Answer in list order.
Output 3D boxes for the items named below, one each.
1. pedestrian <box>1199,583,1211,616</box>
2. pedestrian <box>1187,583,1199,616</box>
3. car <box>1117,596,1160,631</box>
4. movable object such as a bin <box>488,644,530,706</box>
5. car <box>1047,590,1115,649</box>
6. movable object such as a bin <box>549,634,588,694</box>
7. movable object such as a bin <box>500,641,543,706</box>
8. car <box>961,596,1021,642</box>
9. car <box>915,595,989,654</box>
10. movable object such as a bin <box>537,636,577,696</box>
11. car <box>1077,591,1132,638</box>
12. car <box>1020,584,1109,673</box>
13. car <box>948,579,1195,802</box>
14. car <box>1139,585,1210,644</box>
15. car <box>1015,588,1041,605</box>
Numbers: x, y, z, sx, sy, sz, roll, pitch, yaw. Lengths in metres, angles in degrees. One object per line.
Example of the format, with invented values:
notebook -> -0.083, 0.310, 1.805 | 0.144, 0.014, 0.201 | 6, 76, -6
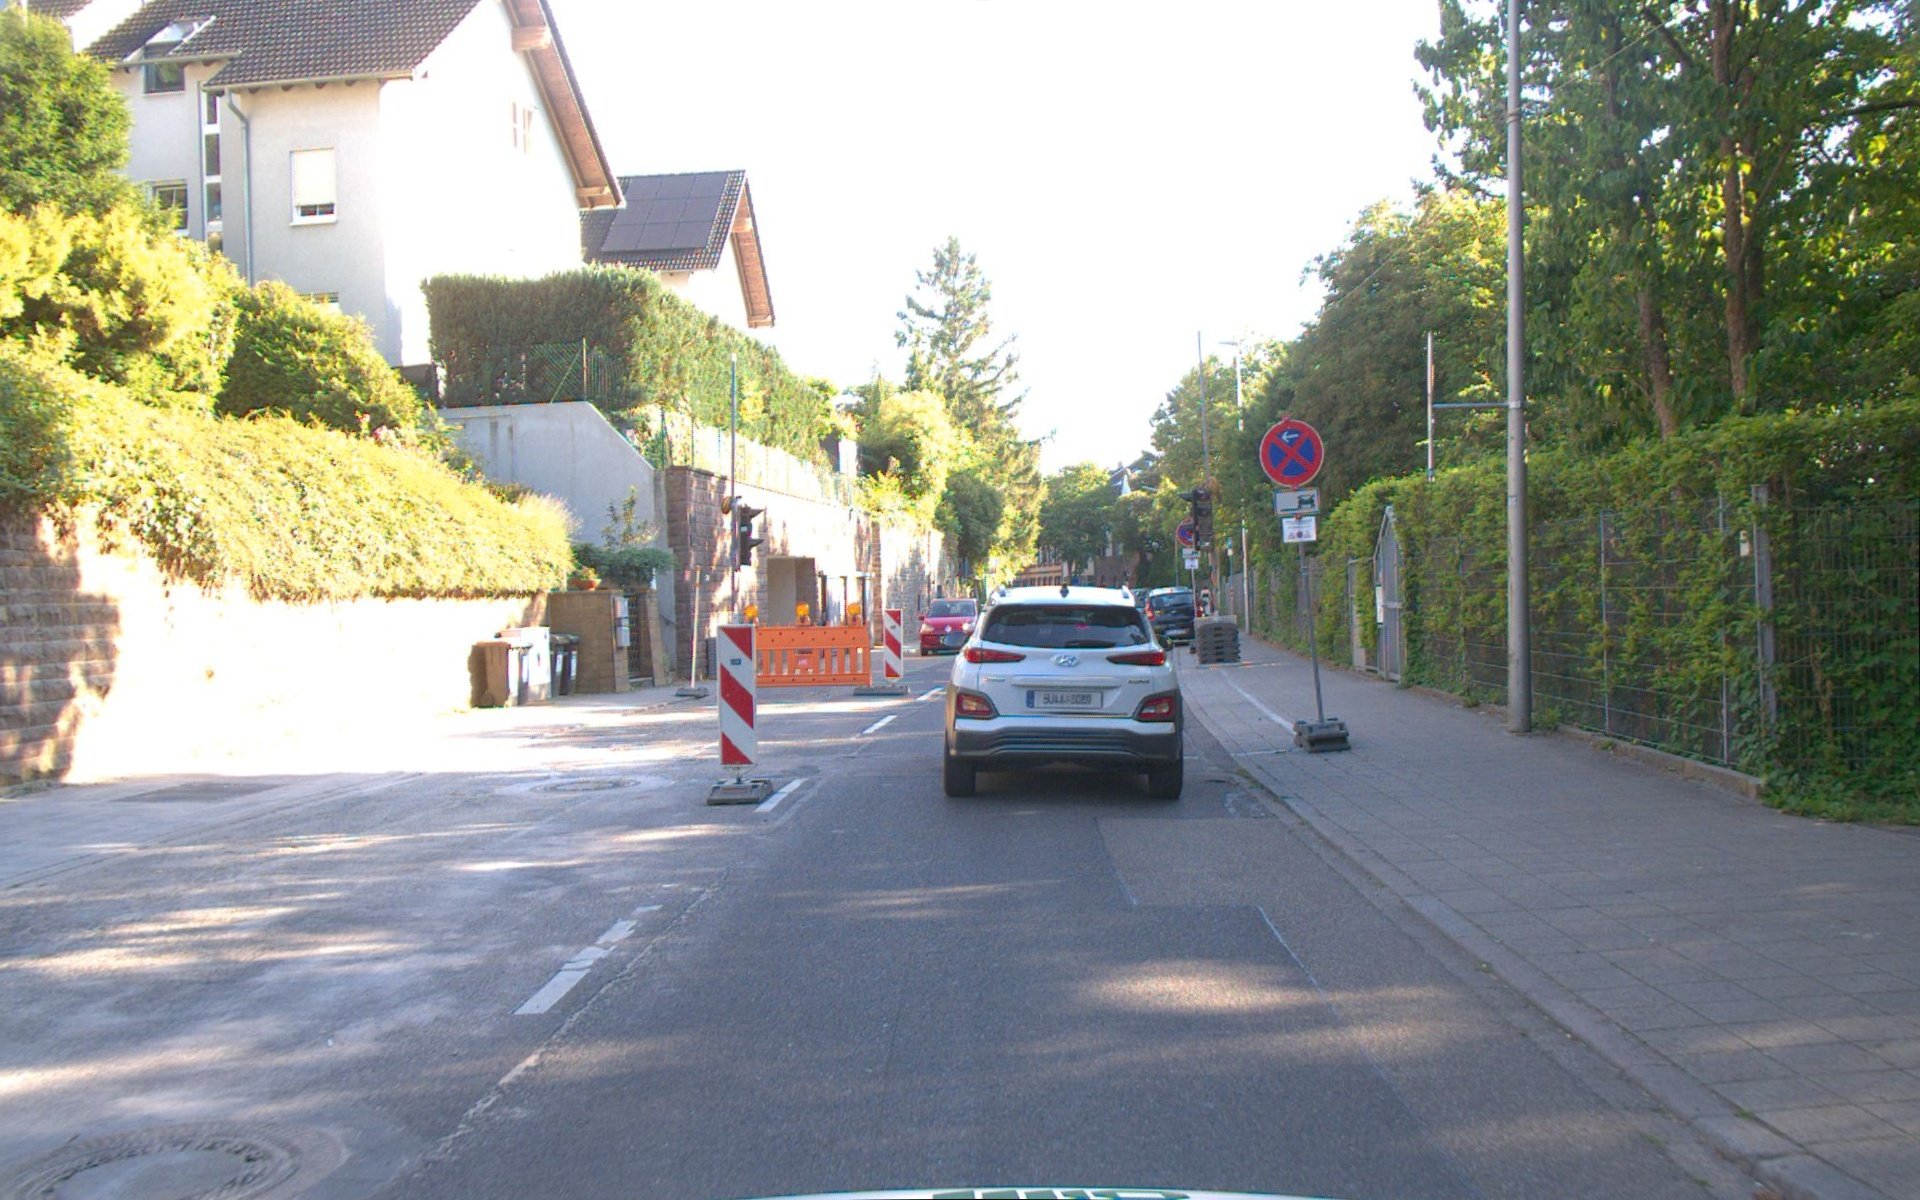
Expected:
pedestrian -> 12.452, -0.028, 84.158 | 0.492, 1.596, 0.504 | -4, -1, 8
pedestrian -> 11.888, -0.006, 84.238 | 0.492, 1.634, 0.491 | -4, -1, 8
car -> 8.065, 0.592, 74.504 | 1.657, 1.472, 3.885 | 1, 0, 9
movable object such as a bin -> -6.339, 1.050, 23.257 | 0.444, 0.848, 0.392 | -1, 0, 5
car -> 3.300, 0.500, 44.623 | 1.537, 1.503, 3.551 | -1, 0, 9
movable object such as a bin -> -6.104, 0.991, 25.801 | 0.446, 0.899, 0.501 | -1, 0, 6
movable object such as a bin -> -6.287, 1.053, 23.726 | 0.446, 0.899, 0.501 | -1, 0, 6
car -> 1.089, 0.624, 56.473 | 1.614, 1.435, 3.933 | -3, 0, 6
car -> -0.172, 0.639, 44.433 | 1.592, 1.446, 3.565 | -3, 0, 5
movable object such as a bin -> -6.161, 1.005, 25.278 | 0.446, 0.899, 0.501 | -1, 0, 6
car -> 5.122, 0.495, 58.283 | 1.657, 1.560, 3.884 | 1, 0, 8
car -> 2.043, 0.496, 31.584 | 1.480, 1.560, 3.550 | -2, 0, 6
car -> 0.868, 0.627, 13.656 | 1.735, 1.569, 4.001 | 0, 0, 2
car -> 5.751, 0.361, 44.407 | 1.756, 1.466, 4.003 | -2, 0, 7
car -> 6.581, -0.339, 160.302 | 1.724, 1.645, 3.991 | -1, 1, -10
